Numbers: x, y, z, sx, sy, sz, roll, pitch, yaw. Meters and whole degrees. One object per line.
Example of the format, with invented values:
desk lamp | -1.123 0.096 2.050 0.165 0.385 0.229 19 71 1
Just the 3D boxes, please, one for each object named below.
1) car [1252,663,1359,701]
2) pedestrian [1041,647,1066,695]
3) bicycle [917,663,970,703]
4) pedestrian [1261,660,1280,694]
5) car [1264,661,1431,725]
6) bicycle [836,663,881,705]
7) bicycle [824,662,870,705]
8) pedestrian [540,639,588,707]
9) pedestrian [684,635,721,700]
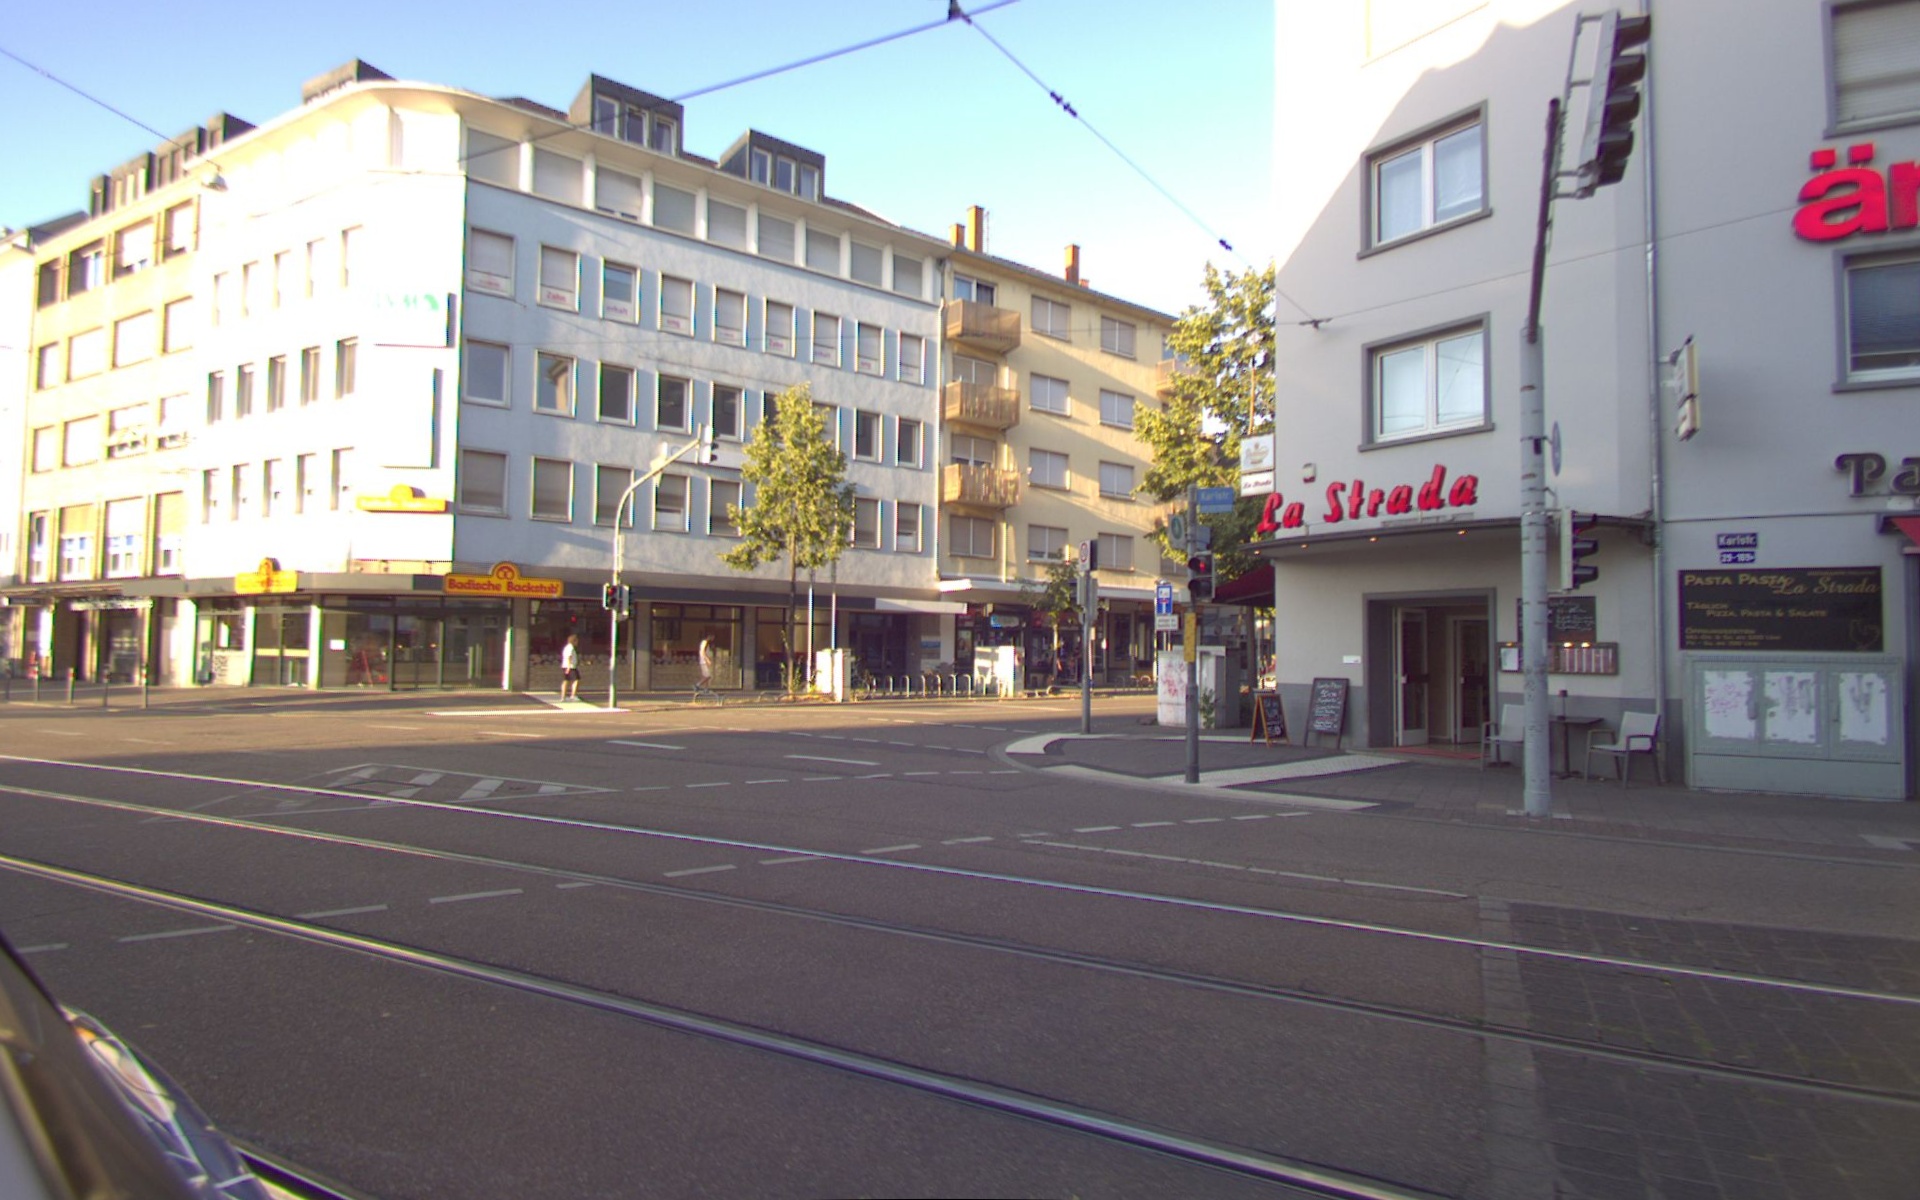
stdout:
car | 13.643 3.235 39.827 4.478 1.388 1.810 4 -6 -38
pedestrian | 3.621 2.758 39.231 0.639 1.821 0.711 4 -7 -37
bicycle | -0.540 2.656 32.539 1.919 1.213 0.463 -3 -5 43
pedestrian | 14.280 3.556 46.509 0.640 1.542 0.543 3 -4 -32
car | 9.687 2.272 25.196 4.311 1.397 1.925 4 -4 -38
bicycle | -3.083 2.510 30.602 0.462 1.213 1.923 3 -4 -35
bicycle | -3.382 2.472 30.189 0.462 1.213 1.923 3 -4 -35
pedestrian | -10.385 1.904 26.552 0.978 1.739 0.808 1 -2 -9
pedestrian | -7.642 1.995 30.068 0.978 1.901 0.808 1 -2 -9
